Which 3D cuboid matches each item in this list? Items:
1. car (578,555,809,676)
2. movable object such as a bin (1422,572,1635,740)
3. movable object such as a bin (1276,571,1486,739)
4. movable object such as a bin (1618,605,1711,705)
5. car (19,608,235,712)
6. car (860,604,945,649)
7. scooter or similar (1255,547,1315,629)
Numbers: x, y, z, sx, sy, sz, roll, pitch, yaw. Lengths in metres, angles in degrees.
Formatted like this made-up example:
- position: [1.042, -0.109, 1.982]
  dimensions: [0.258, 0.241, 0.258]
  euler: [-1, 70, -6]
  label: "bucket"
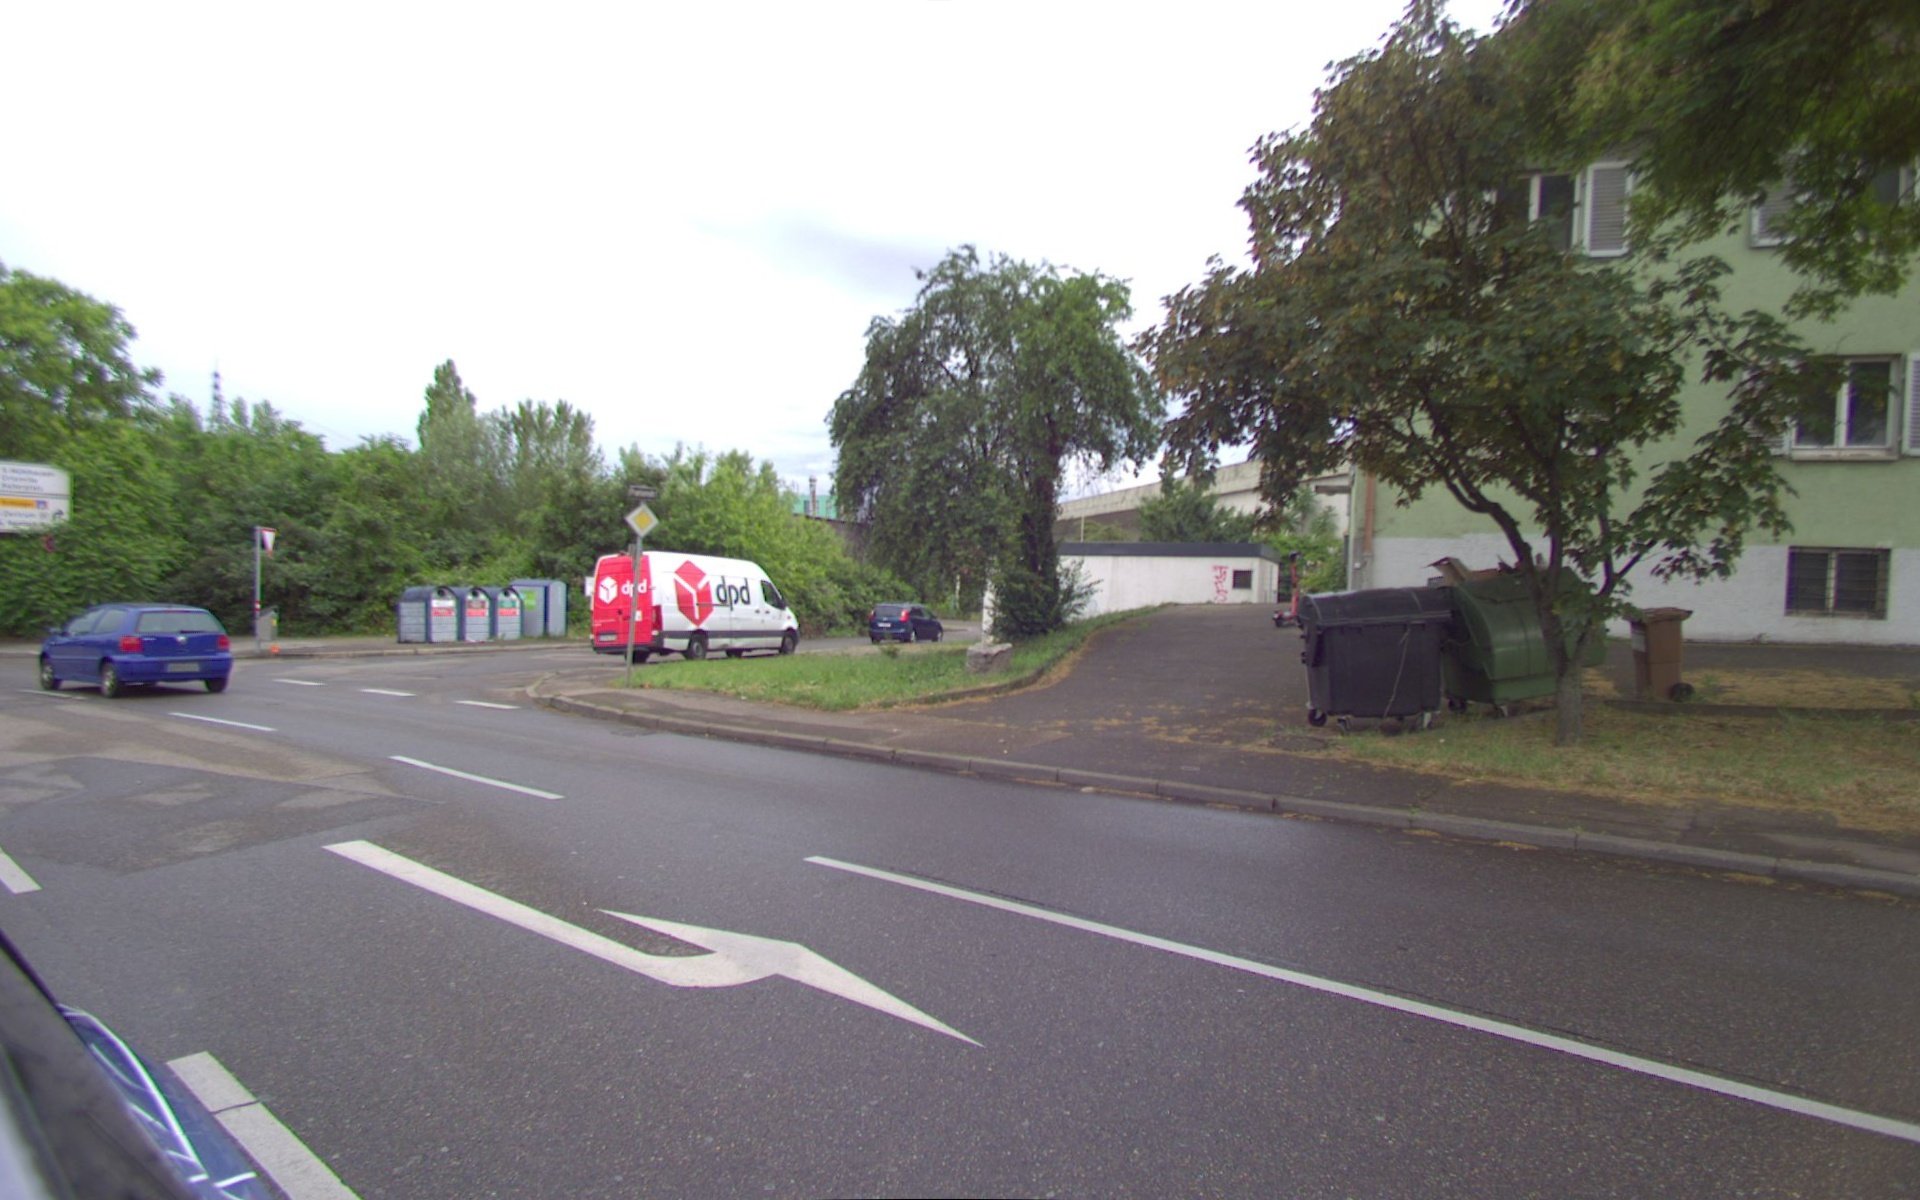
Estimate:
- position: [-6.509, 0.315, 25.924]
  dimensions: [2.246, 2.675, 6.777]
  euler: [1, 0, 20]
  label: "car"
- position: [5.705, 0.517, 10.236]
  dimensions: [1.440, 1.448, 1.102]
  euler: [-5, 3, -6]
  label: "movable object such as a bin"
- position: [4.249, 0.508, 10.346]
  dimensions: [1.440, 1.448, 1.296]
  euler: [-5, 3, -6]
  label: "movable object such as a bin"
- position: [7.206, 0.539, 10.351]
  dimensions: [0.723, 0.964, 0.551]
  euler: [1, 0, 41]
  label: "movable object such as a bin"
- position: [-13.593, 0.895, 16.478]
  dimensions: [3.683, 1.436, 1.586]
  euler: [1, 1, 31]
  label: "car"
- position: [-2.227, 1.014, 40.414]
  dimensions: [1.984, 1.642, 4.228]
  euler: [1, 0, 18]
  label: "car"
- position: [5.525, -0.233, 17.151]
  dimensions: [0.529, 1.283, 1.507]
  euler: [1, 4, 35]
  label: "scooter or similar"
